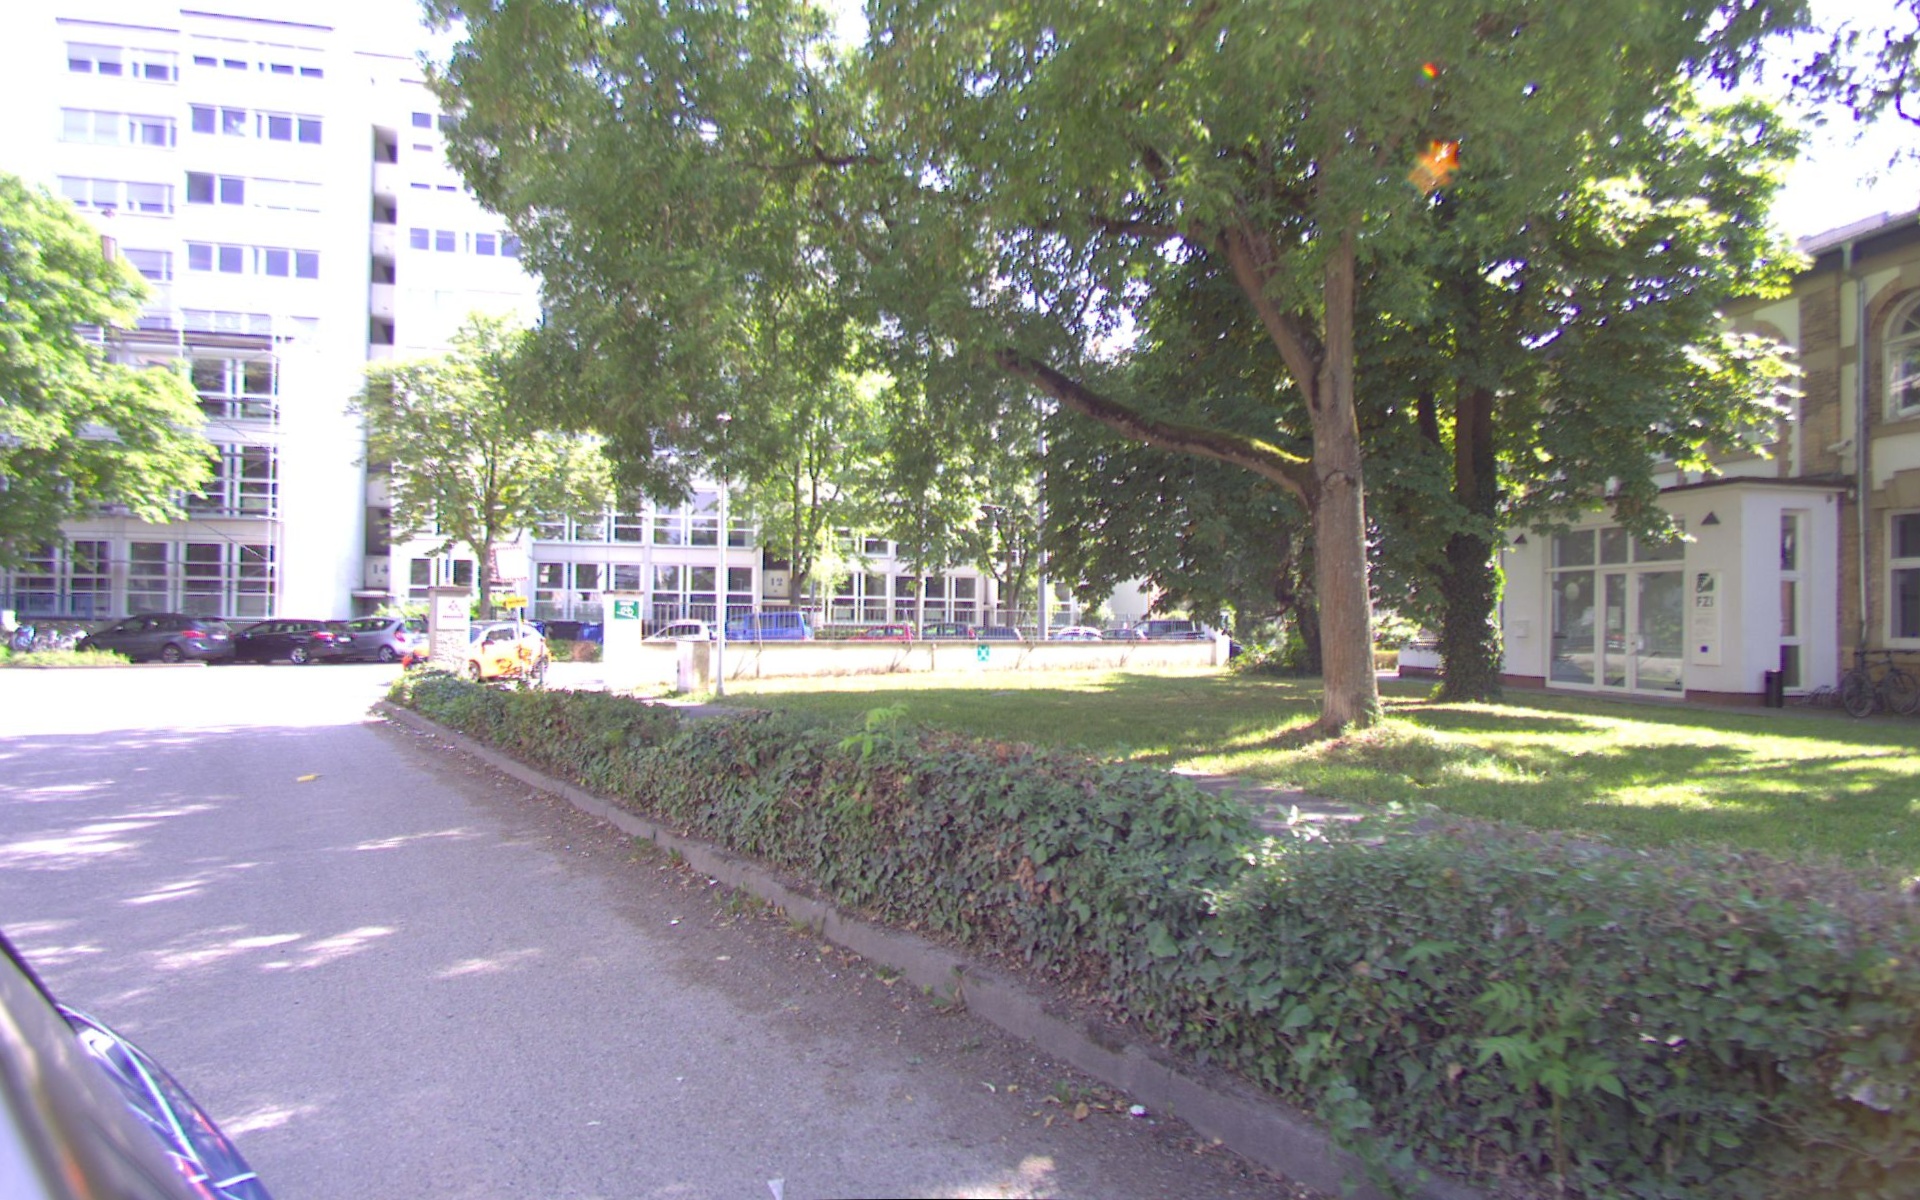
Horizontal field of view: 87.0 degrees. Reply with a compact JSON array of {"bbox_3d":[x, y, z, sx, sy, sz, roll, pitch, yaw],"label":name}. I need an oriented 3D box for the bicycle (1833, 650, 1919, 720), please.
[{"bbox_3d":[13.887,1.272,15.122,1.515,1.000,0.447,1,-1,-12],"label":"bicycle"}]

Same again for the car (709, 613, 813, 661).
[{"bbox_3d":[-8.306,1.567,42.469,3.951,1.921,1.784,-1,-2,6],"label":"car"}]

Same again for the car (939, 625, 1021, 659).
[{"bbox_3d":[1.037,2.101,50.419,3.951,1.652,1.829,-1,-2,6],"label":"car"}]

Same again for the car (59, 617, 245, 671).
[{"bbox_3d":[-24.418,1.300,30.666,4.335,1.577,1.805,0,-1,5],"label":"car"}]

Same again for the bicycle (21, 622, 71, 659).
[{"bbox_3d":[-30.829,1.339,34.177,0.481,1.209,2.023,1,-2,-19],"label":"bicycle"}]

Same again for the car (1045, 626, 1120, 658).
[{"bbox_3d":[6.665,2.276,54.885,3.956,1.674,1.824,0,-2,10],"label":"car"}]

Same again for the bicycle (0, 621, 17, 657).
[{"bbox_3d":[-32.305,1.294,33.738,0.481,1.209,2.023,1,-2,-19],"label":"bicycle"}]

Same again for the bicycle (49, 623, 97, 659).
[{"bbox_3d":[-30.198,1.377,34.480,0.481,1.209,2.023,1,-2,-19],"label":"bicycle"}]

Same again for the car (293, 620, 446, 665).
[{"bbox_3d":[-20.177,1.439,34.666,4.287,1.497,1.798,0,-2,7],"label":"car"}]

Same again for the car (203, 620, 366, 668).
[{"bbox_3d":[-21.729,1.415,32.644,4.130,1.487,1.799,0,-2,4],"label":"car"}]

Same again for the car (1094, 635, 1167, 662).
[{"bbox_3d":[9.531,2.705,56.789,3.953,1.428,1.781,0,-2,8],"label":"car"}]

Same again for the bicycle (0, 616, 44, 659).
[{"bbox_3d":[-31.609,1.254,34.000,0.481,1.389,2.023,1,-2,-19],"label":"bicycle"}]

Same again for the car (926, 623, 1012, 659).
[{"bbox_3d":[0.451,1.969,48.181,3.951,1.652,1.800,-1,-2,6],"label":"car"}]

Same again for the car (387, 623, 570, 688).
[{"bbox_3d":[-11.498,1.310,24.487,1.648,1.423,4.152,-1,-2,17],"label":"car"}]

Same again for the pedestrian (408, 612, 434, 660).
[{"bbox_3d":[-20.564,1.371,38.607,0.741,1.790,0.733,2,-2,-40],"label":"pedestrian"}]

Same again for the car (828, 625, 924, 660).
[{"bbox_3d":[-3.833,1.948,46.534,4.168,1.550,1.779,-1,-2,6],"label":"car"}]

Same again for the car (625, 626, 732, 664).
[{"bbox_3d":[-11.291,1.777,40.636,3.818,1.475,1.700,0,-2,18],"label":"car"}]
